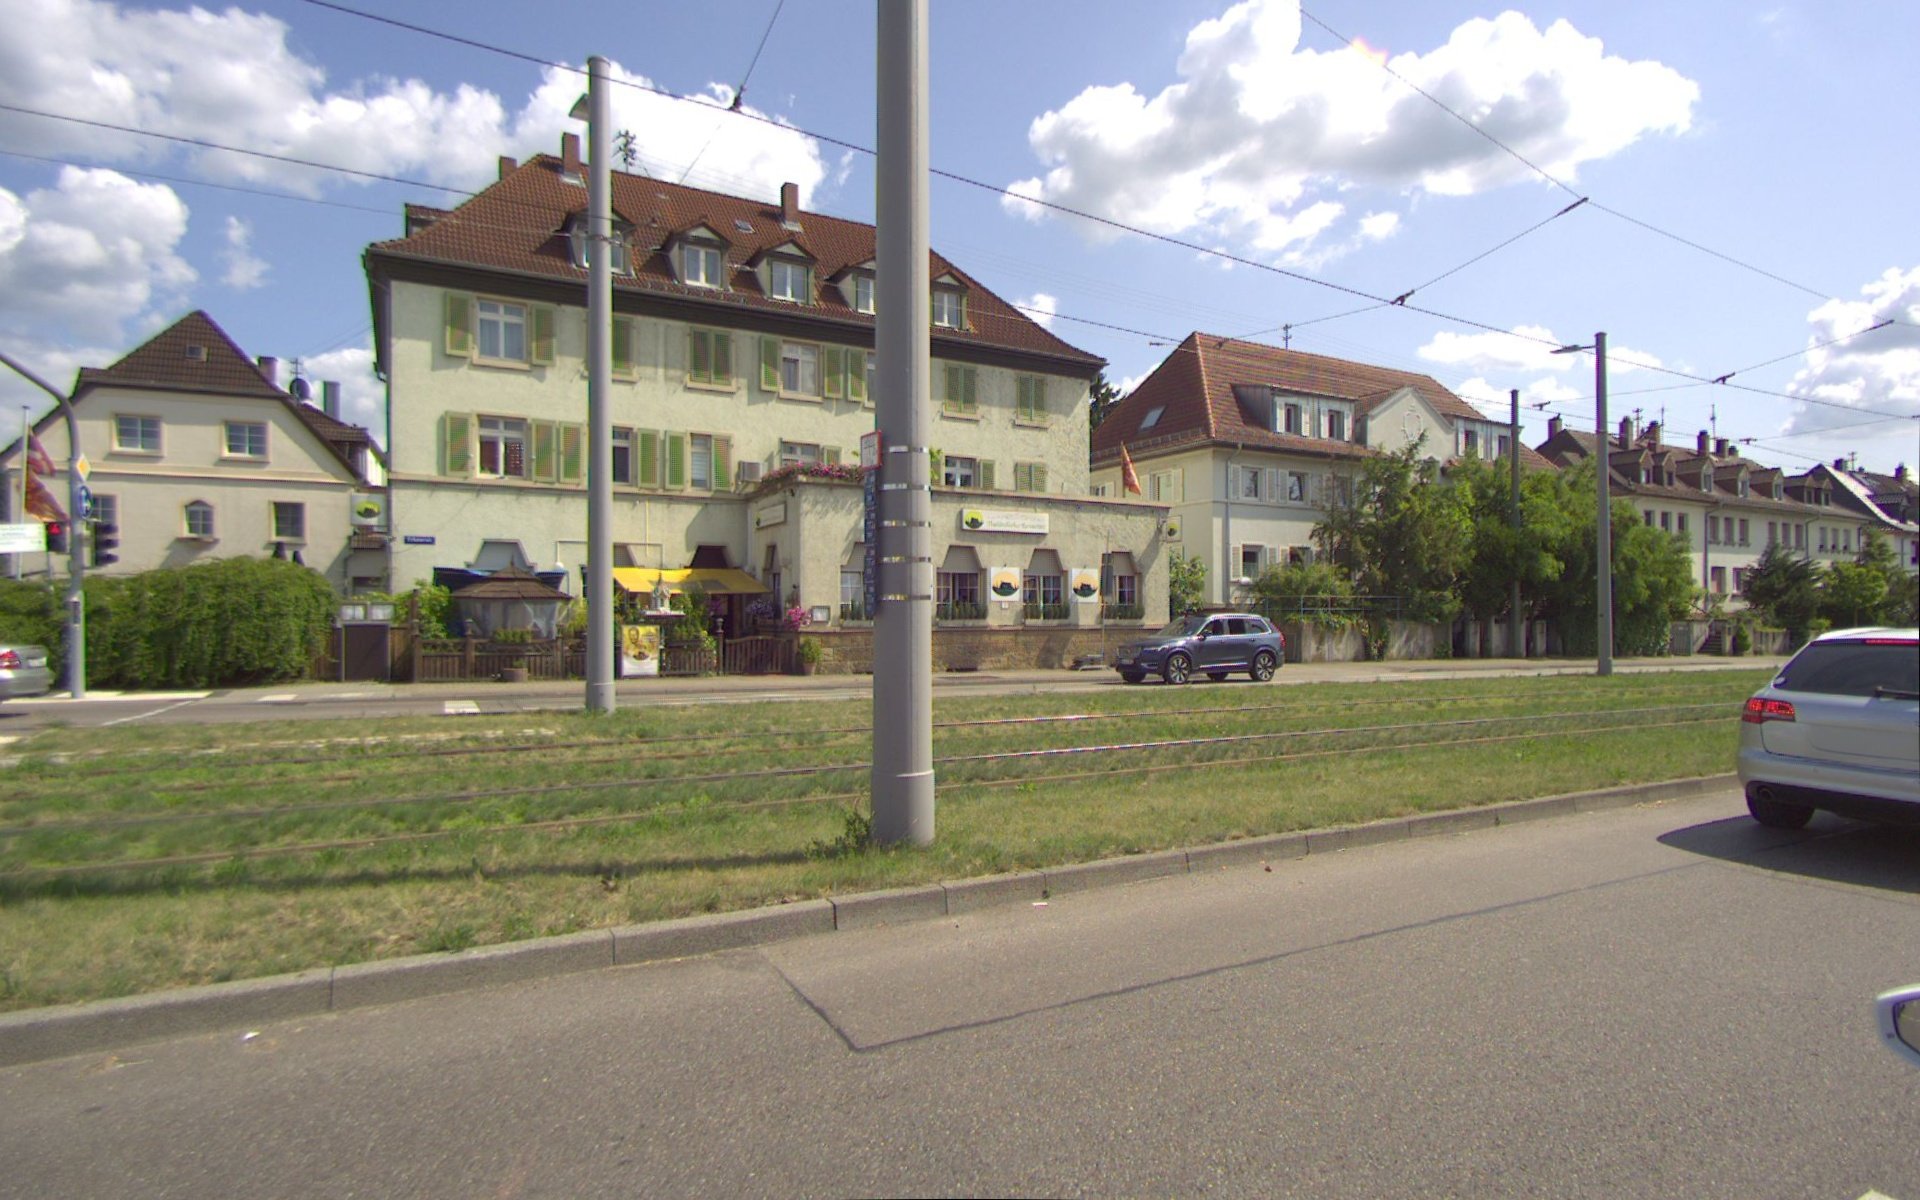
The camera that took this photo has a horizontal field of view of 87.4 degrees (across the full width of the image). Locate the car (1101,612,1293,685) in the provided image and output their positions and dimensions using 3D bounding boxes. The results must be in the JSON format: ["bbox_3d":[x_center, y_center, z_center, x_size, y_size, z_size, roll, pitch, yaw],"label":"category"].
[{"bbox_3d":[6.192,1.232,26.084,4.880,1.734,2.005,1,-2,-31],"label":"car"}]

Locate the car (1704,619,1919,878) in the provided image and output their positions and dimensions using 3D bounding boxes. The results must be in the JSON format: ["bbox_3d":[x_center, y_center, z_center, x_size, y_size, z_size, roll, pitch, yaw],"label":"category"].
[{"bbox_3d":[7.507,0.903,7.267,4.667,1.491,1.785,1,0,-31],"label":"car"}]

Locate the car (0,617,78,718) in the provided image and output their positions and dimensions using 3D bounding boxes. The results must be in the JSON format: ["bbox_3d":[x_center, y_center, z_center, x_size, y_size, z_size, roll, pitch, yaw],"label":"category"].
[{"bbox_3d":[-15.447,0.936,13.977,4.413,1.405,1.788,1,-2,-27],"label":"car"}]
